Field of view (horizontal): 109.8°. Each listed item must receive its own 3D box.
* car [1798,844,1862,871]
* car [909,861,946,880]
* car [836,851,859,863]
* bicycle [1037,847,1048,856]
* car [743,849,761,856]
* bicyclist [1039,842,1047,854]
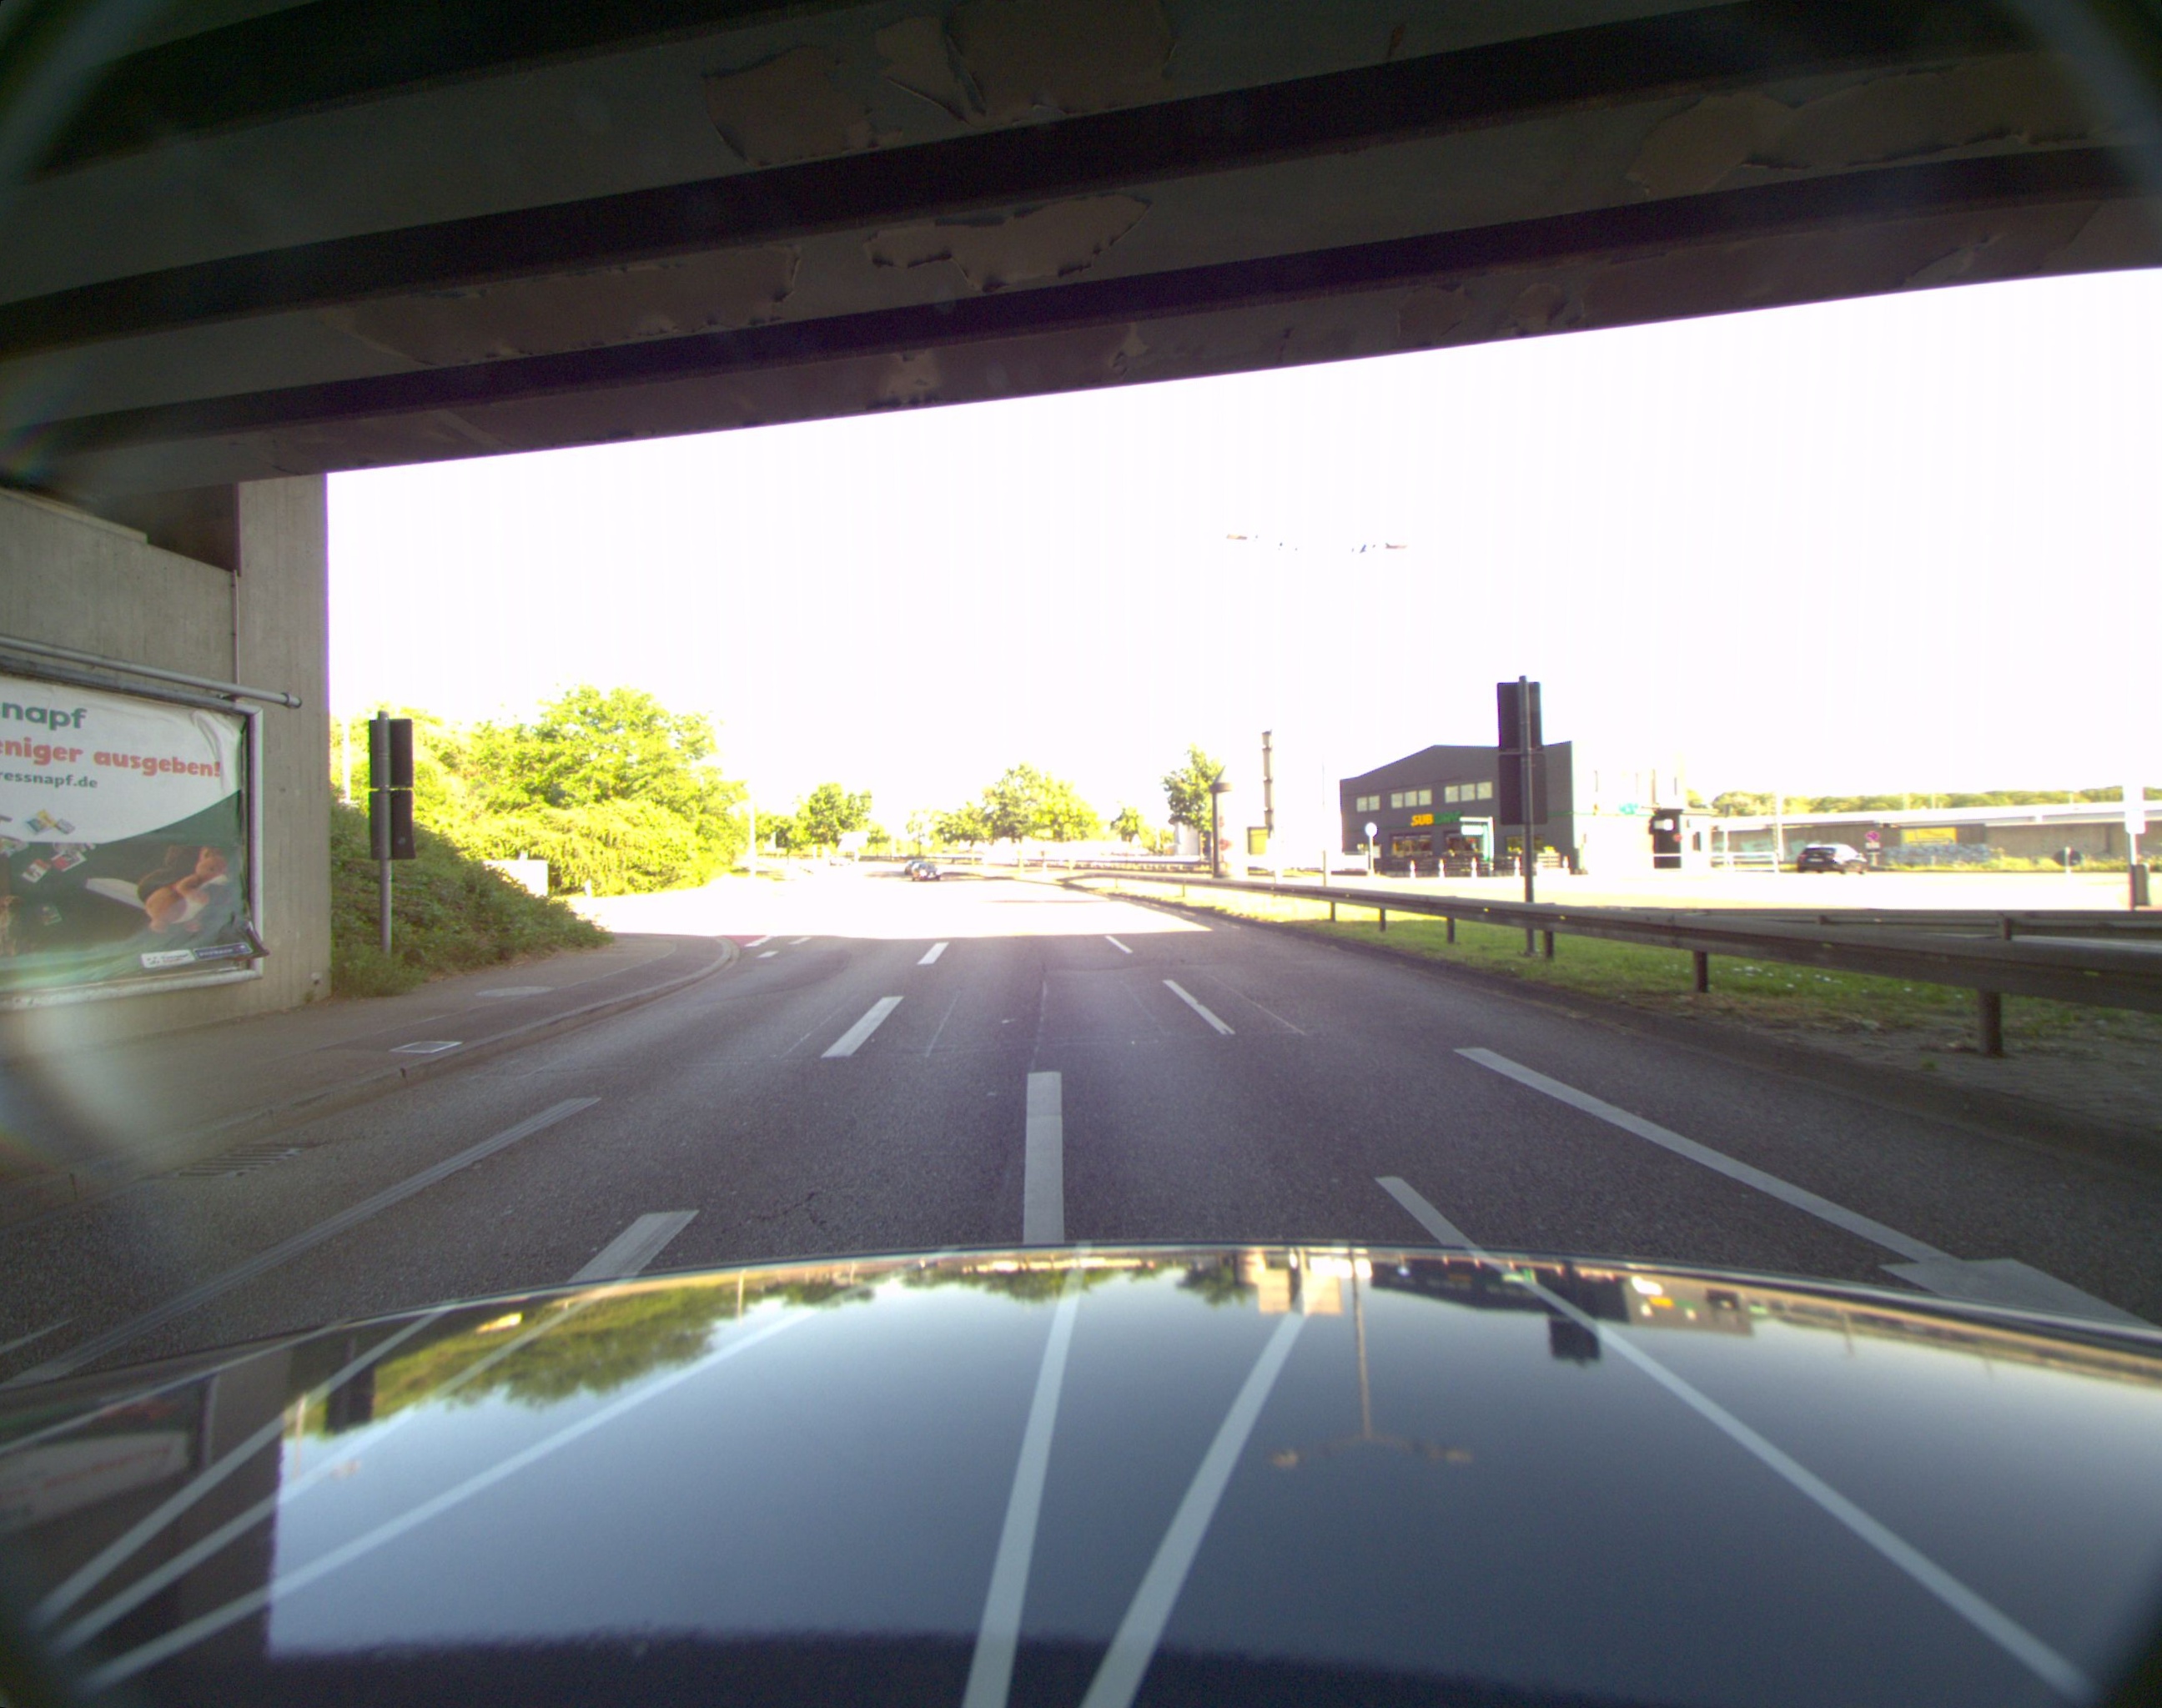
[{"bbox_3d":[38.388,0.188,38.921,4.191,1.274,1.825,1,0,-39],"label":"car"},{"bbox_3d":[-12.279,1.321,60.621,1.741,1.411,4.310,-1,-2,-27],"label":"car"},{"bbox_3d":[-30.812,0.377,100.140,1.860,1.471,4.220,-2,0,-32],"label":"car"},{"bbox_3d":[-4.435,-0.267,87.130,0.594,1.017,1.746,-3,1,-28],"label":"bicycle"},{"bbox_3d":[-62.540,-0.357,144.505,1.752,1.274,4.170,1,0,-43],"label":"car"},{"bbox_3d":[-4.397,-0.701,87.051,0.594,1.419,0.707,-3,1,-28],"label":"bicyclist"}]
